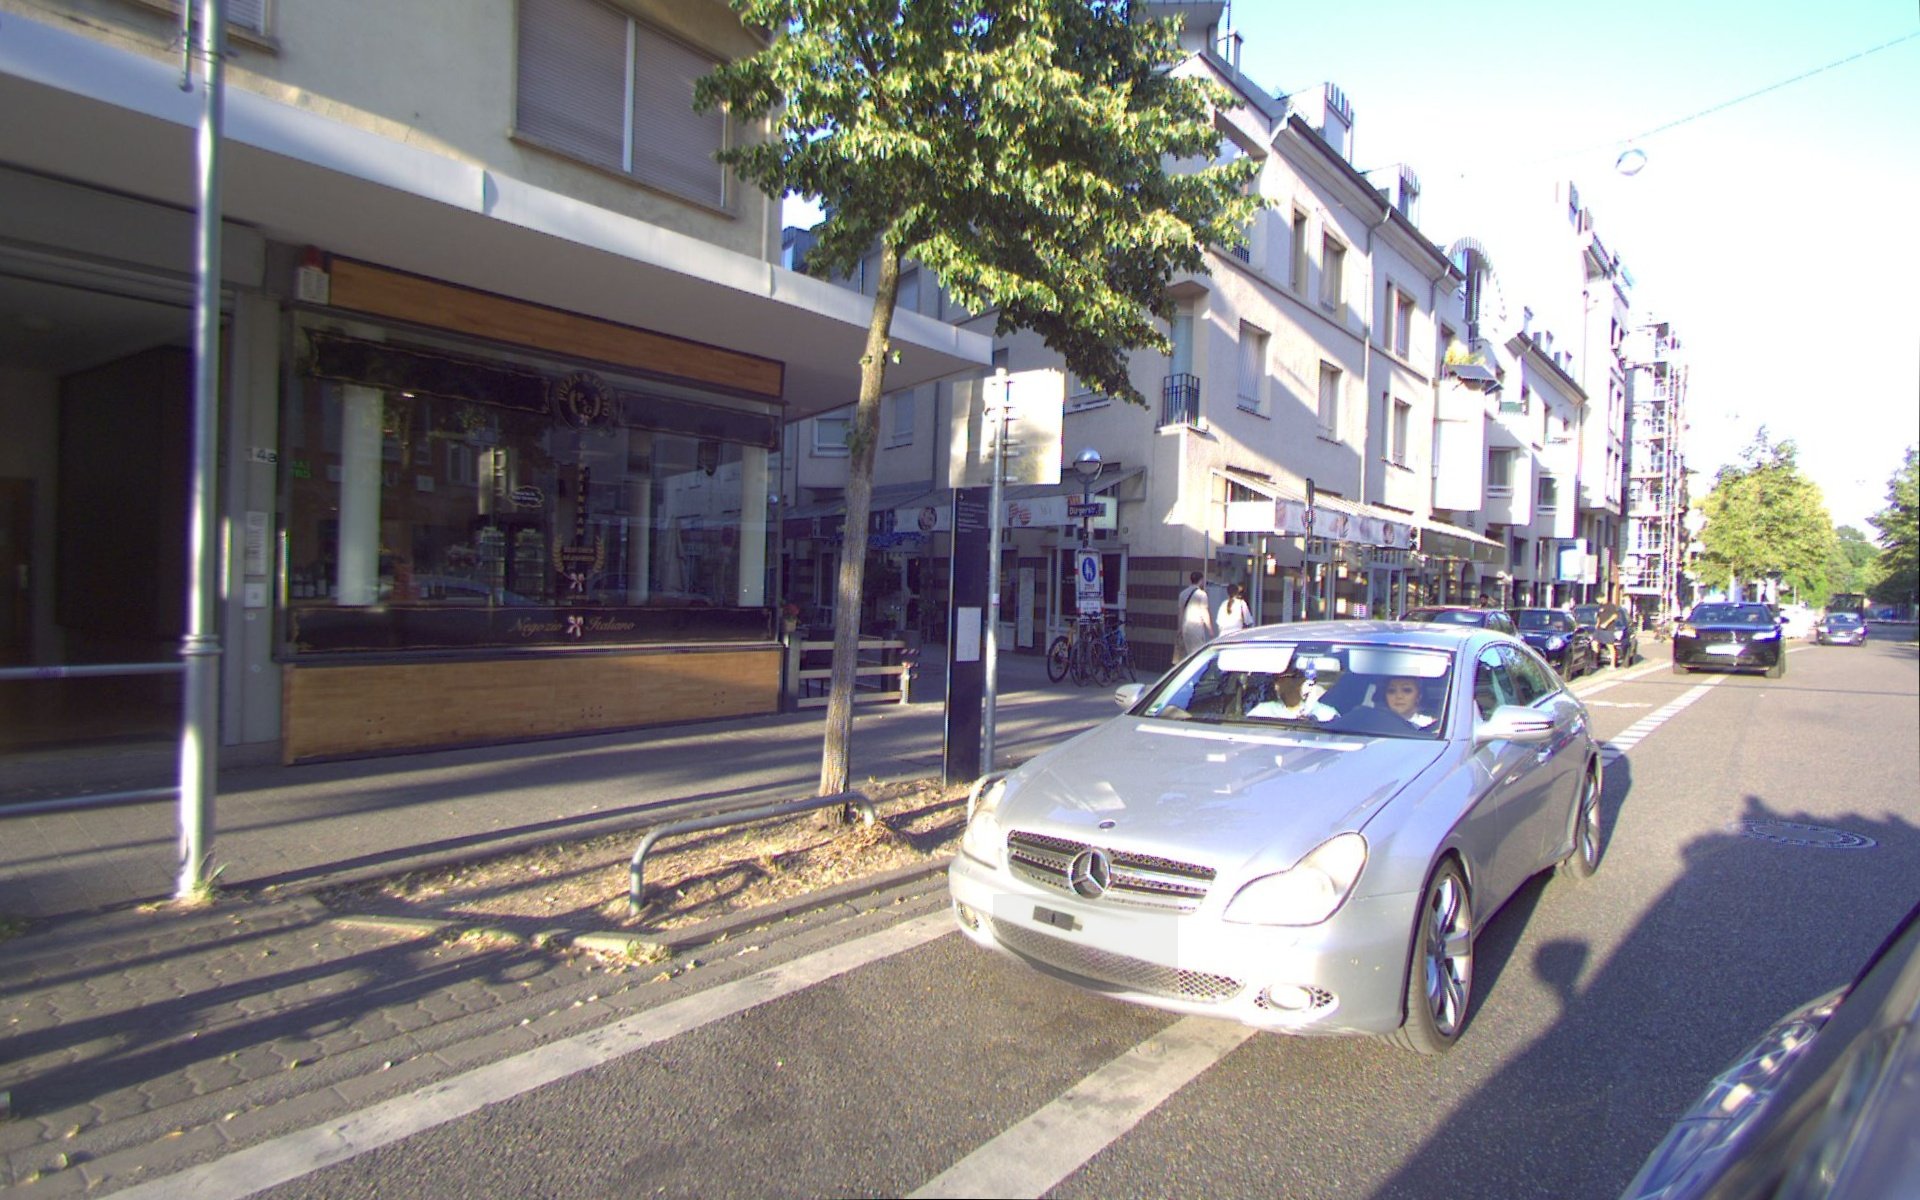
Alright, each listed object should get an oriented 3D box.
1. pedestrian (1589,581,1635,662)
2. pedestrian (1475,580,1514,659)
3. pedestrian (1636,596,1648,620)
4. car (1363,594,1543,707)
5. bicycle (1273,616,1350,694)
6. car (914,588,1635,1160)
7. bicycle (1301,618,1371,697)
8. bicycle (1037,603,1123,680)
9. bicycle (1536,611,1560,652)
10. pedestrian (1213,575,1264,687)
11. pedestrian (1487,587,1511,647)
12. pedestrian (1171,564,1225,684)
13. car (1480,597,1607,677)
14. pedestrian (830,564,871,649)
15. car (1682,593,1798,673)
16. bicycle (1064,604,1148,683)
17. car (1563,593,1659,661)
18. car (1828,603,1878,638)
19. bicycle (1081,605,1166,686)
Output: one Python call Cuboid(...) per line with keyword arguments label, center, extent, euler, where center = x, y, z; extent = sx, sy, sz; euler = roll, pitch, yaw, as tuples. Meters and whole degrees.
Cuboid(label="pedestrian", center=(15.596, 0.509, 24.210), extent=(0.776, 1.907, 0.660), euler=(-2, -2, 41))
Cuboid(label="pedestrian", center=(12.457, 0.445, 23.583), extent=(0.629, 1.771, 0.660), euler=(3, 2, 41))
Cuboid(label="pedestrian", center=(36.327, 0.436, 53.889), extent=(0.490, 1.279, 0.415), euler=(0, 0, 42))
Cuboid(label="car", center=(7.777, 0.690, 15.778), extent=(1.587, 1.451, 3.868), euler=(4, 2, 40))
Cuboid(label="bicycle", center=(5.248, 0.784, 15.054), extent=(0.314, 1.059, 1.853), euler=(3, 2, 43))
Cuboid(label="car", center=(1.953, 0.682, 4.936), extent=(1.740, 1.418, 4.572), euler=(1, 2, 40))
Cuboid(label="bicycle", center=(5.528, 0.818, 14.850), extent=(0.314, 1.059, 1.638), euler=(3, 2, 43))
Cuboid(label="bicycle", center=(1.892, 0.616, 15.722), extent=(0.320, 1.118, 1.851), euler=(2, 1, 41))
Cuboid(label="bicycle", center=(16.232, 0.857, 27.924), extent=(0.295, 1.099, 1.441), euler=(1, 1, 41))
Cuboid(label="pedestrian", center=(4.177, 0.449, 15.194), extent=(0.519, 1.612, 0.402), euler=(5, 3, 41))
Cuboid(label="pedestrian", center=(16.736, 0.516, 31.424), extent=(0.574, 1.823, 0.443), euler=(0, 0, 42))
Cuboid(label="pedestrian", center=(3.677, 0.355, 15.623), extent=(0.543, 1.779, 0.495), euler=(5, 3, 41))
Cuboid(label="car", center=(12.256, 0.708, 21.167), extent=(1.615, 1.452, 3.868), euler=(3, 2, 40))
Cuboid(label="pedestrian", center=(-2.300, 0.126, 21.179), extent=(0.688, 1.696, 0.799), euler=(2, 2, -13))
Cuboid(label="car", center=(17.899, 0.683, 23.154), extent=(1.884, 1.656, 4.165), euler=(0, 0, 41))
Cuboid(label="bicycle", center=(2.246, 0.631, 15.405), extent=(0.290, 1.118, 1.859), euler=(2, 1, 41))
Cuboid(label="car", center=(17.194, 0.647, 26.655), extent=(1.615, 1.612, 3.868), euler=(2, 1, 40))
Cuboid(label="car", center=(39.883, 0.883, 45.246), extent=(1.616, 1.492, 3.634), euler=(0, 0, 41))
Cuboid(label="bicycle", center=(2.481, 0.650, 15.187), extent=(0.320, 1.118, 1.851), euler=(2, 1, 41))
